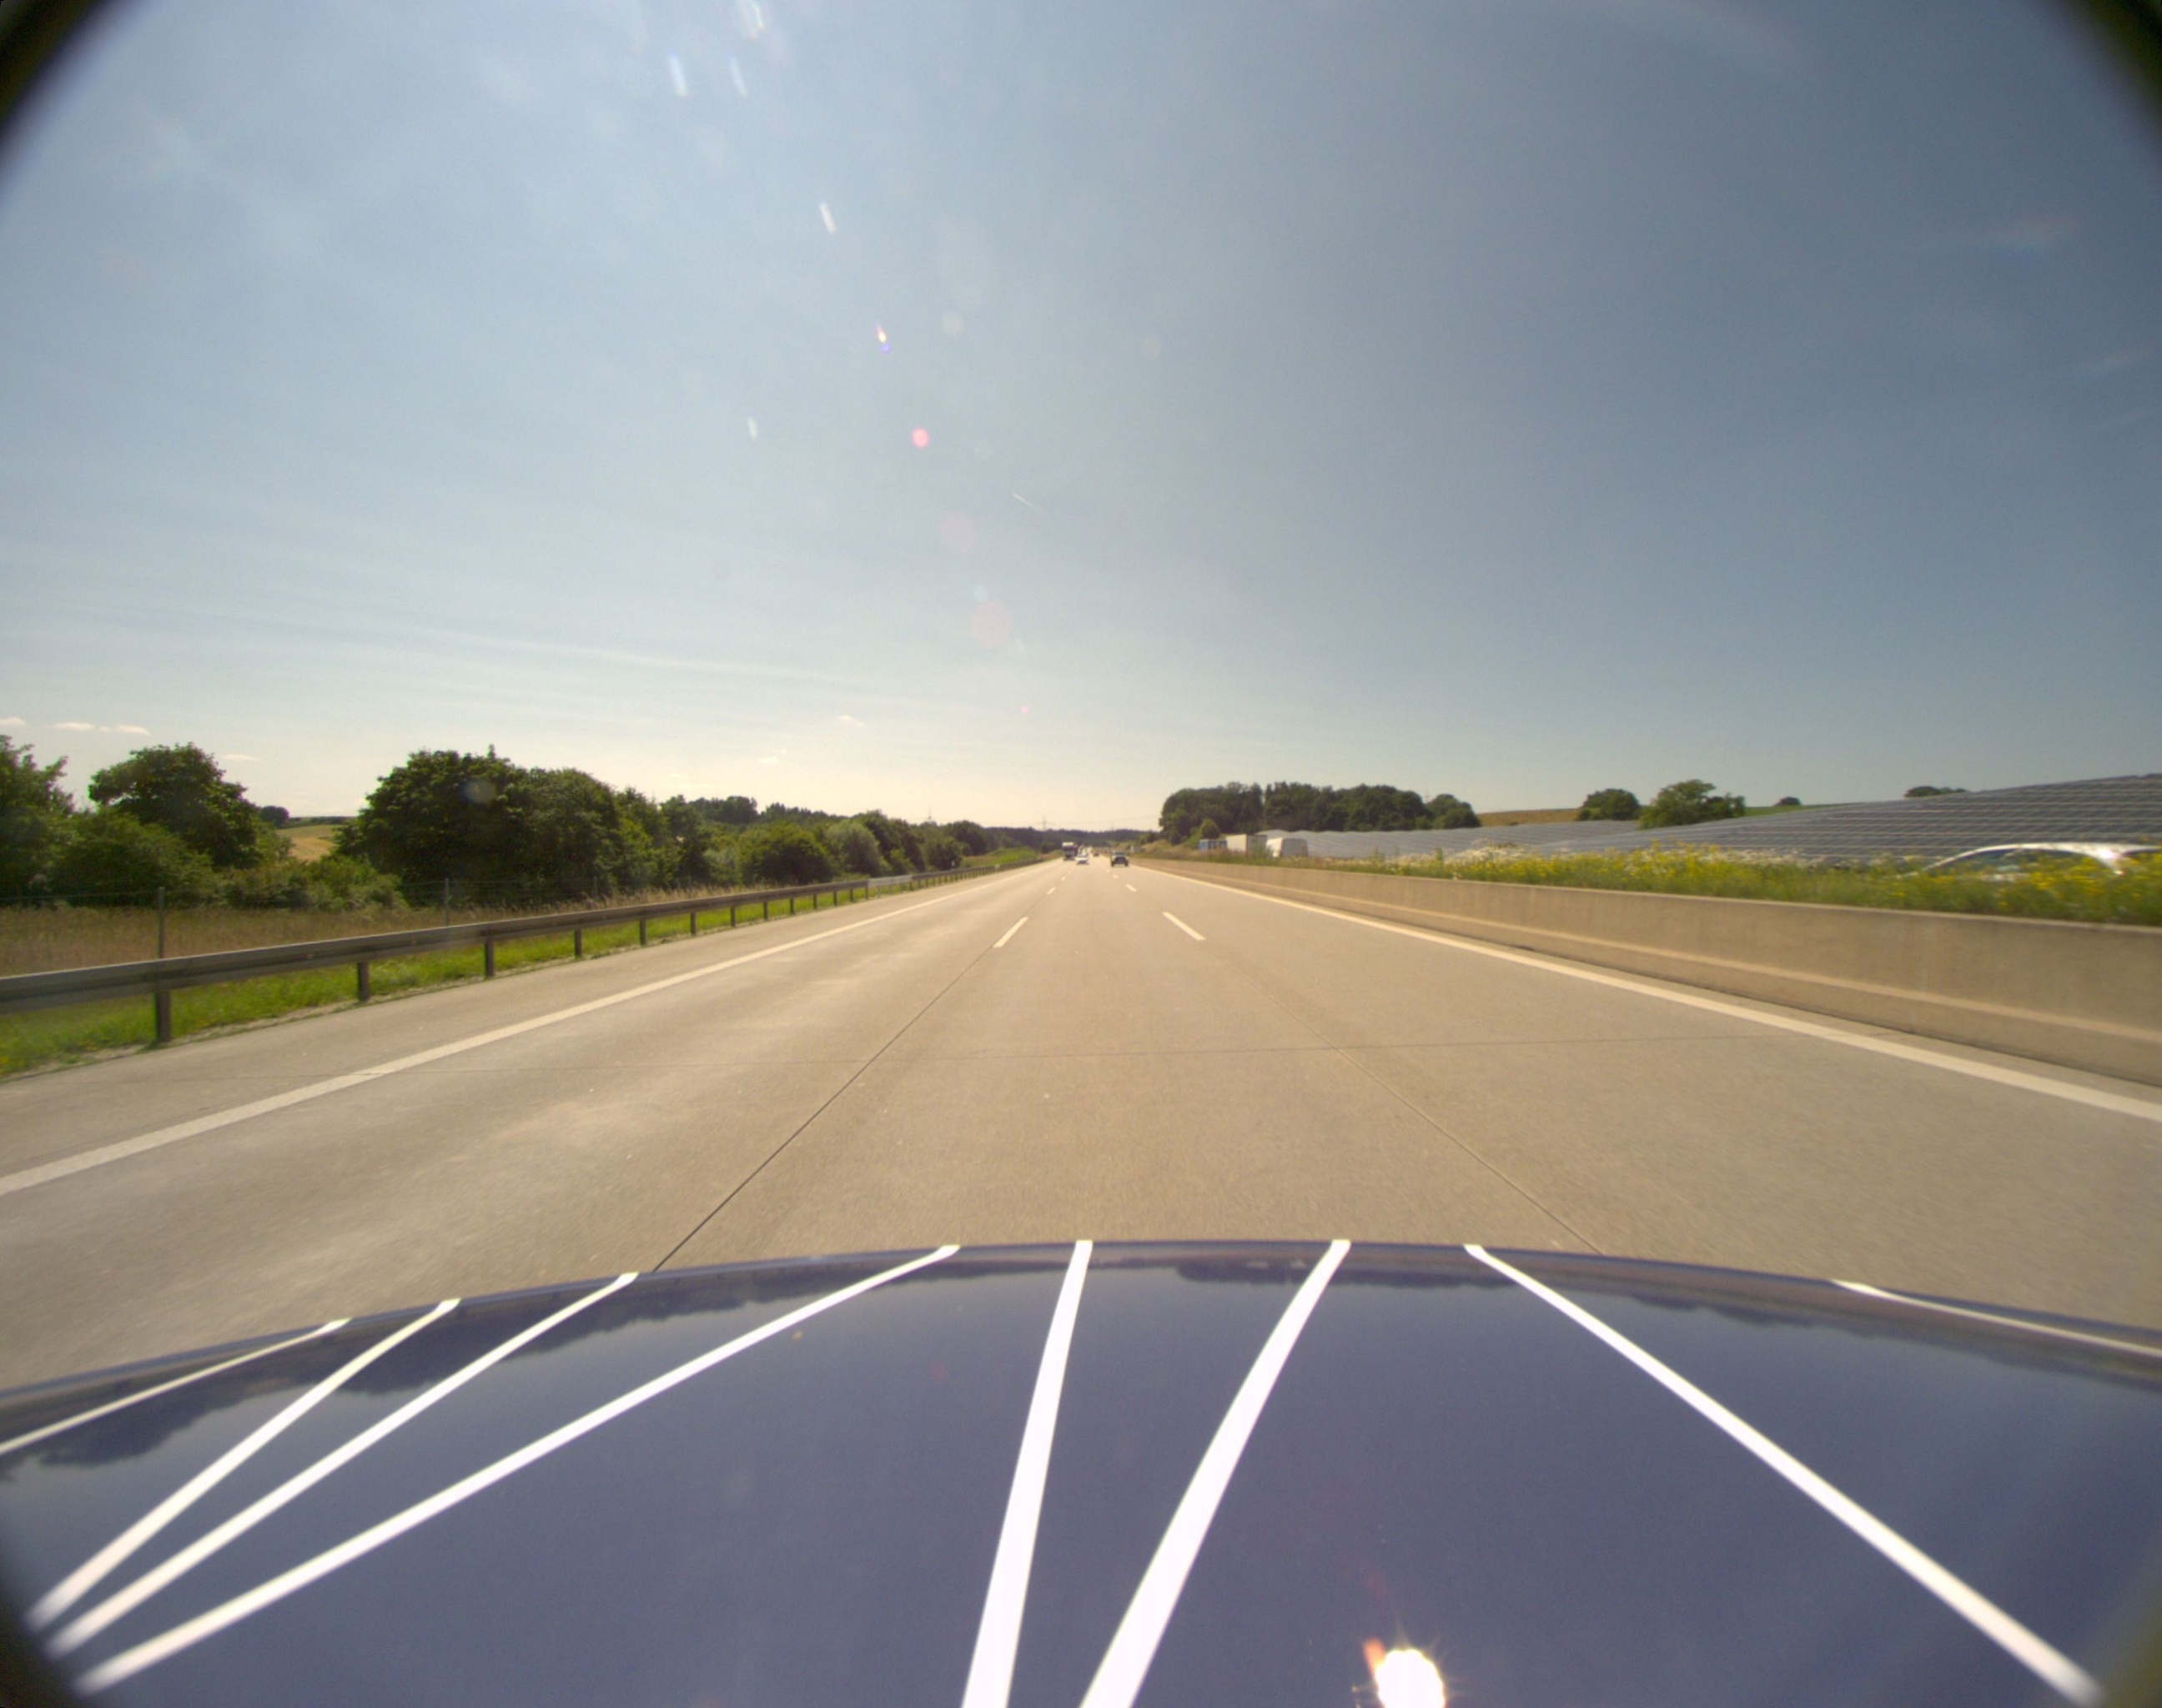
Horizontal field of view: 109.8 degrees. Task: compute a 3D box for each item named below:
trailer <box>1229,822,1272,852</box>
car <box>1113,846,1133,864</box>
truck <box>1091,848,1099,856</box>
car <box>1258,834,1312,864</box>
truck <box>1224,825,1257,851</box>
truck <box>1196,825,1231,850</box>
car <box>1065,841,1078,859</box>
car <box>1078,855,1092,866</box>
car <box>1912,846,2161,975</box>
[{"bbox_3d":[22.201,-2.200,100.156,3.082,3.504,11.762,-2,1,1],"label":"trailer"},{"bbox_3d":[4.801,0.085,88.457,1.998,1.836,6.529,-3,1,1],"label":"car"},{"bbox_3d":[4.507,-0.627,242.694,2.263,2.461,6.614,-2,1,1],"label":"truck"},{"bbox_3d":[14.996,-0.416,56.299,2.189,2.002,6.347,-2,1,-1],"label":"car"},{"bbox_3d":[22.325,-2.189,106.570,3.130,3.467,6.884,-2,1,1],"label":"truck"},{"bbox_3d":[17.833,-2.171,102.792,2.832,3.046,10.373,-2,1,0],"label":"truck"},{"bbox_3d":[-2.171,-1.039,176.227,2.766,4.029,10.851,-1,1,1],"label":"car"},{"bbox_3d":[0.605,1.019,112.870,2.065,1.472,5.068,-2,1,0],"label":"car"},{"bbox_3d":[13.589,0.659,10.297,1.409,1.475,2.965,-2,1,1],"label":"car"}]
